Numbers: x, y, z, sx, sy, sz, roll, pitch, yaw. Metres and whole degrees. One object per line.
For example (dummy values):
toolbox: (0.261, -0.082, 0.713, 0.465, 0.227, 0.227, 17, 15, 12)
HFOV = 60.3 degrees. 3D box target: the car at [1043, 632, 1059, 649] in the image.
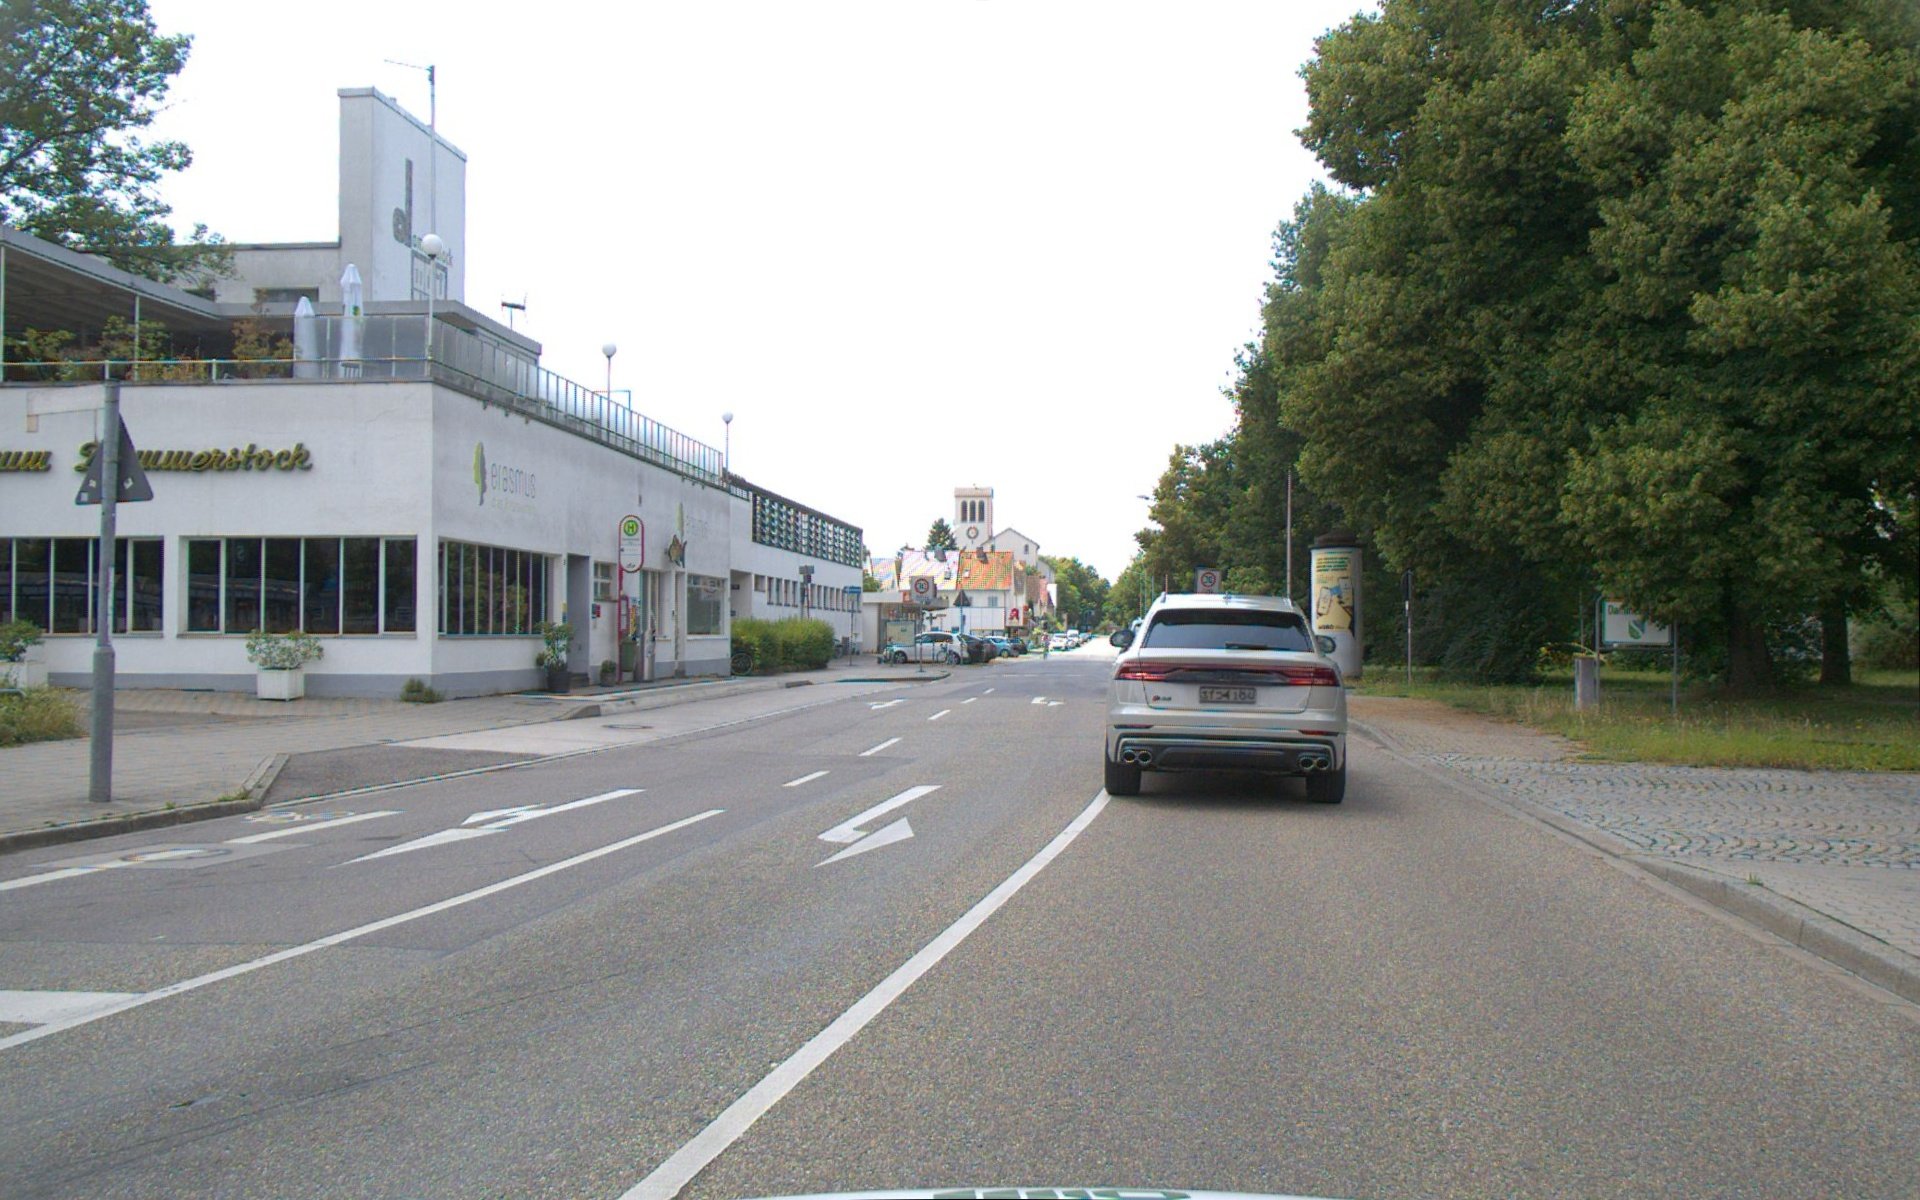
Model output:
car: (10.311, 4.605, 187.982, 1.745, 1.887, 4.001, 0, -1, 2)

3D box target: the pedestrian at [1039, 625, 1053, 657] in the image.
pedestrian: (5.735, 2.743, 110.563, 0.890, 2.173, 1.014, 0, -1, 6)

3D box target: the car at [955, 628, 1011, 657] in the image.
car: (1.638, 3.032, 118.483, 3.906, 2.049, 1.999, 0, -1, -1)

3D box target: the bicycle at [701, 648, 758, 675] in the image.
bicycle: (-6.725, 1.787, 48.287, 1.640, 0.771, 0.410, 0, -1, -13)

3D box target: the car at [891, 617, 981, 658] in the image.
car: (-1.202, 1.905, 83.972, 4.537, 2.049, 1.999, 0, -3, 0)

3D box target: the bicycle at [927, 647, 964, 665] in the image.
bicycle: (-0.656, 2.571, 75.426, 1.635, 0.771, 0.570, 1, -2, 0)

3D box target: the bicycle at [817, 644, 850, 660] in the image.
bicycle: (-6.660, 2.750, 87.156, 1.645, 0.771, 0.567, 2, -2, -21)

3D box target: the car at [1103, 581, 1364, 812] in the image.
car: (2.485, 0.762, 14.911, 1.939, 1.713, 4.578, 1, -1, 10)

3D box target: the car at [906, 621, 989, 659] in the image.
car: (-0.656, 2.205, 91.245, 4.537, 2.049, 1.999, 0, -3, 0)

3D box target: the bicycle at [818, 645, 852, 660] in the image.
bicycle: (-6.533, 2.735, 86.380, 1.645, 0.771, 0.567, 2, -2, -21)

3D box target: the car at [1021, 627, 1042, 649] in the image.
car: (6.655, 3.541, 154.691, 1.952, 2.049, 4.001, 0, -1, 2)

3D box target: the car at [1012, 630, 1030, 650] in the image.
car: (6.488, 4.245, 176.385, 1.952, 2.049, 4.001, 0, -1, 2)

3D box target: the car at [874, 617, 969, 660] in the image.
car: (-1.824, 1.861, 79.672, 4.537, 2.049, 1.999, 0, -3, 0)

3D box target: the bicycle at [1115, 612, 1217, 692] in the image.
bicycle: (4.633, 1.162, 37.738, 1.952, 1.704, 4.209, 0, -1, 2)

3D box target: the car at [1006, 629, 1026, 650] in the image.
car: (5.585, 3.900, 164.141, 1.952, 2.049, 4.001, 0, -1, 2)

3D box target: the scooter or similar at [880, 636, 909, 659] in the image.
scooter or similar: (-3.023, 2.194, 76.056, 0.614, 1.013, 1.979, 1, -3, -25)
